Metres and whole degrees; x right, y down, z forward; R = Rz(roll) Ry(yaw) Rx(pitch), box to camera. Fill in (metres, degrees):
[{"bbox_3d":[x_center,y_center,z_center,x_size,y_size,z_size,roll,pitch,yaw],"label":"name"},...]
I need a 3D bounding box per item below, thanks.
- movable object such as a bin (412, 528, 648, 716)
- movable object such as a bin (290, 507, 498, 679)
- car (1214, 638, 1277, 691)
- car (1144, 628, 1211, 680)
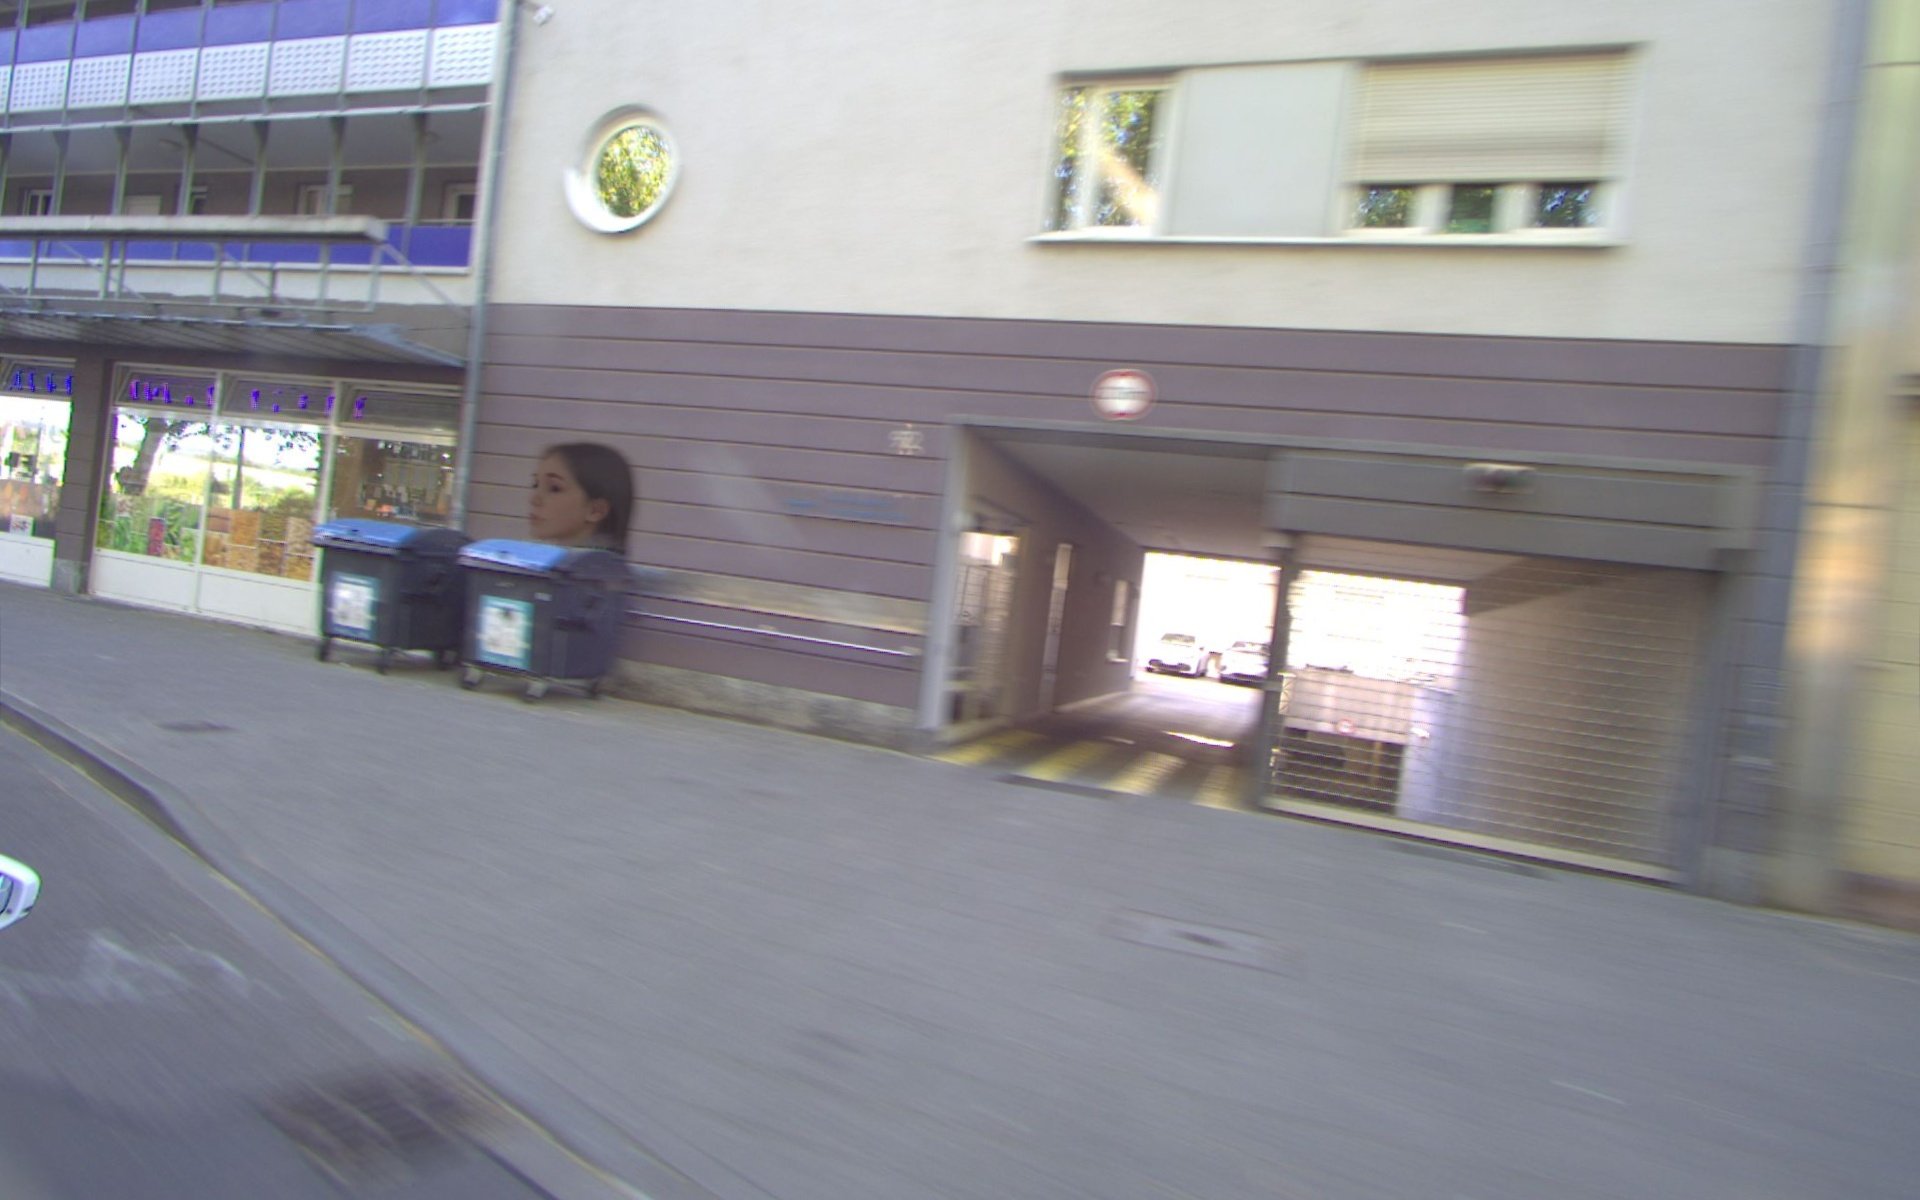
[{"bbox_3d":[-4.057,0.190,9.571,1.565,1.504,1.189,7,2,19],"label":"movable object such as a bin"},{"bbox_3d":[-5.696,-0.070,10.174,1.362,1.504,1.113,7,2,19],"label":"movable object such as a bin"},{"bbox_3d":[10.013,2.234,35.095,1.754,1.503,4.002,8,-1,19],"label":"car"},{"bbox_3d":[7.806,1.950,35.815,1.754,1.525,4.002,8,-1,19],"label":"car"}]
